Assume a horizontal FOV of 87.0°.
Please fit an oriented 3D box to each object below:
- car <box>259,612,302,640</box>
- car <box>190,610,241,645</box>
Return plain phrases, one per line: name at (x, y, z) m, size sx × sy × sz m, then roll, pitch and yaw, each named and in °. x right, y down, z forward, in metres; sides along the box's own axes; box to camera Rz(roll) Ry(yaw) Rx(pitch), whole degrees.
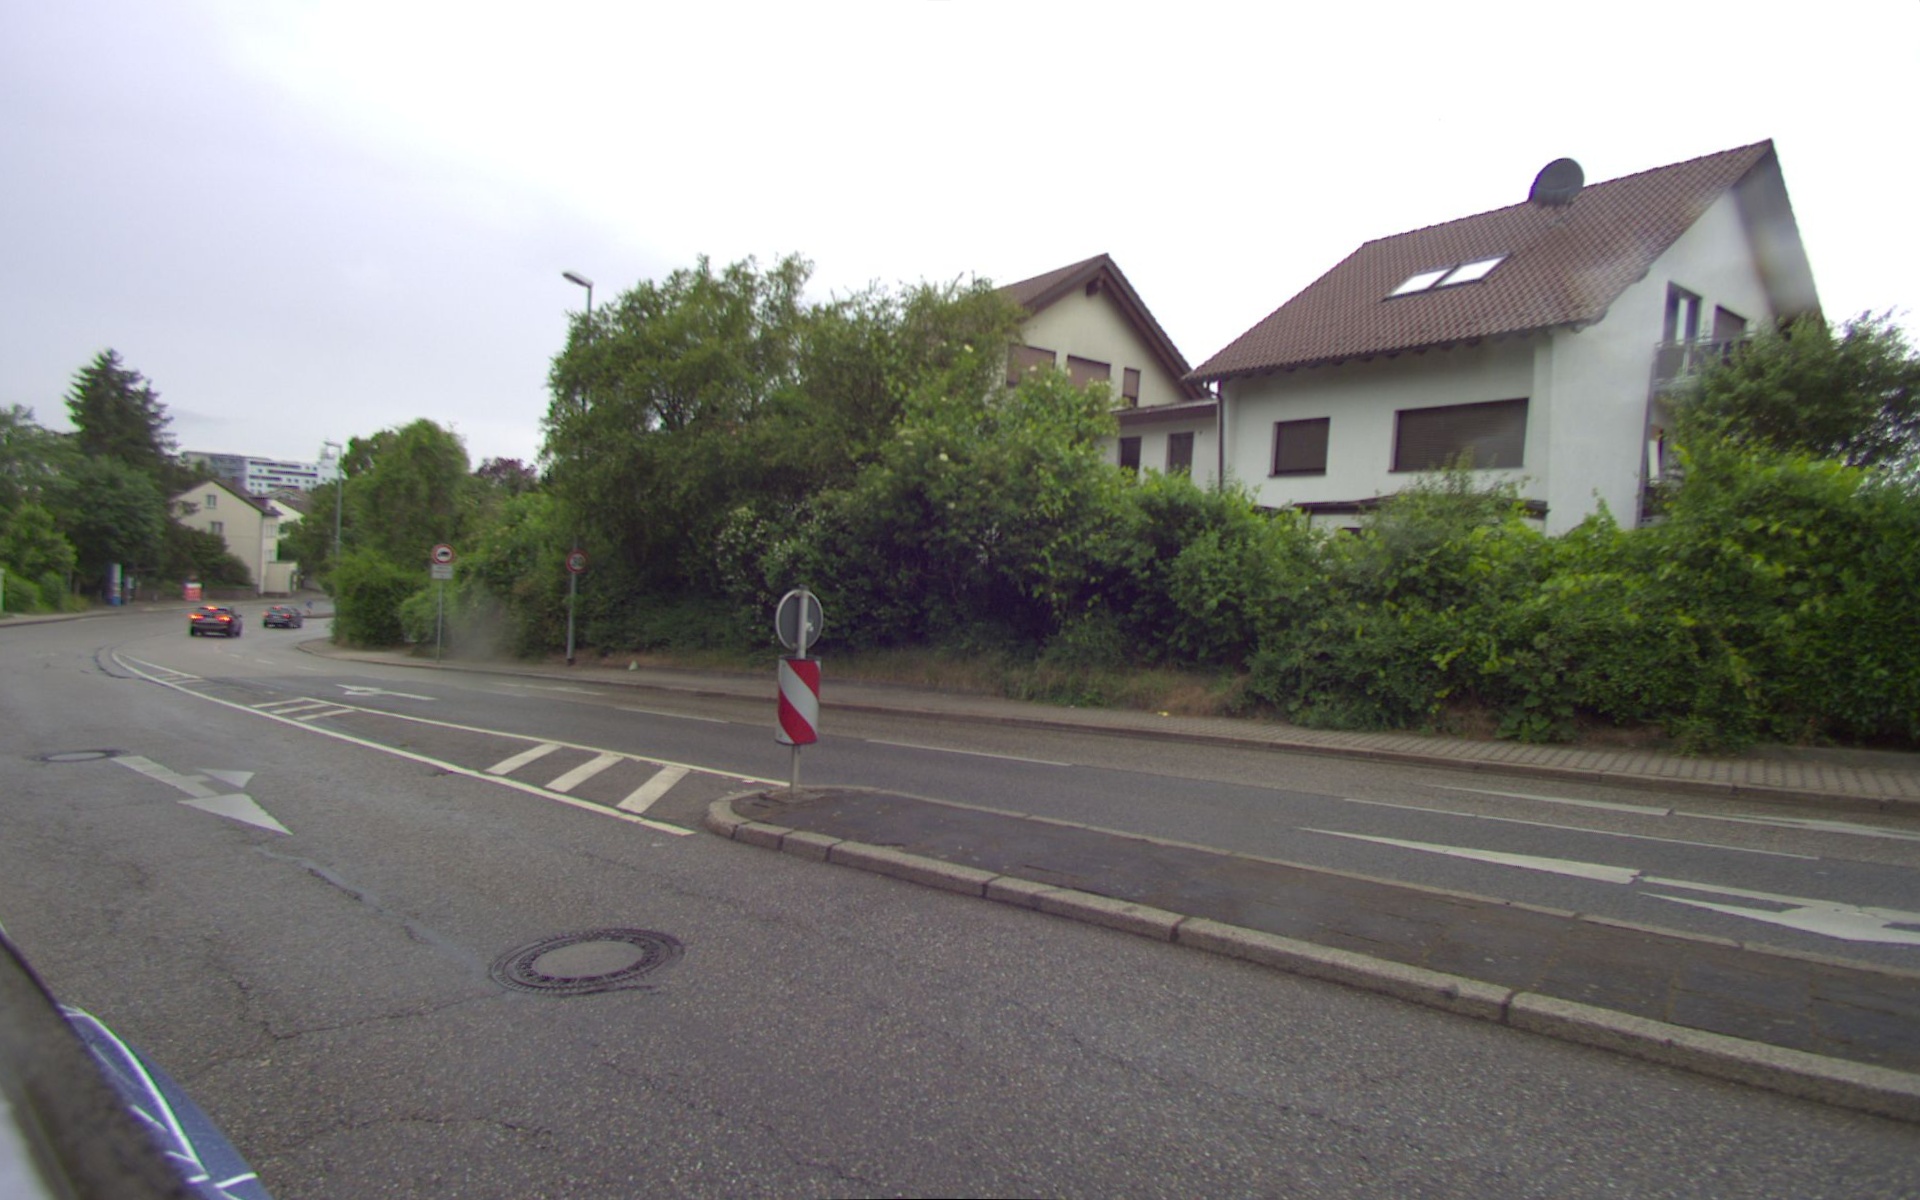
car at (-50.715, 1.961, 75.595) m, size 2.096 × 2.029 × 4.099 m, roll 2°, pitch -2°, yaw -26°
car at (-42.874, 1.594, 58.355) m, size 1.929 × 1.860 × 4.012 m, roll 4°, pitch -3°, yaw -31°
